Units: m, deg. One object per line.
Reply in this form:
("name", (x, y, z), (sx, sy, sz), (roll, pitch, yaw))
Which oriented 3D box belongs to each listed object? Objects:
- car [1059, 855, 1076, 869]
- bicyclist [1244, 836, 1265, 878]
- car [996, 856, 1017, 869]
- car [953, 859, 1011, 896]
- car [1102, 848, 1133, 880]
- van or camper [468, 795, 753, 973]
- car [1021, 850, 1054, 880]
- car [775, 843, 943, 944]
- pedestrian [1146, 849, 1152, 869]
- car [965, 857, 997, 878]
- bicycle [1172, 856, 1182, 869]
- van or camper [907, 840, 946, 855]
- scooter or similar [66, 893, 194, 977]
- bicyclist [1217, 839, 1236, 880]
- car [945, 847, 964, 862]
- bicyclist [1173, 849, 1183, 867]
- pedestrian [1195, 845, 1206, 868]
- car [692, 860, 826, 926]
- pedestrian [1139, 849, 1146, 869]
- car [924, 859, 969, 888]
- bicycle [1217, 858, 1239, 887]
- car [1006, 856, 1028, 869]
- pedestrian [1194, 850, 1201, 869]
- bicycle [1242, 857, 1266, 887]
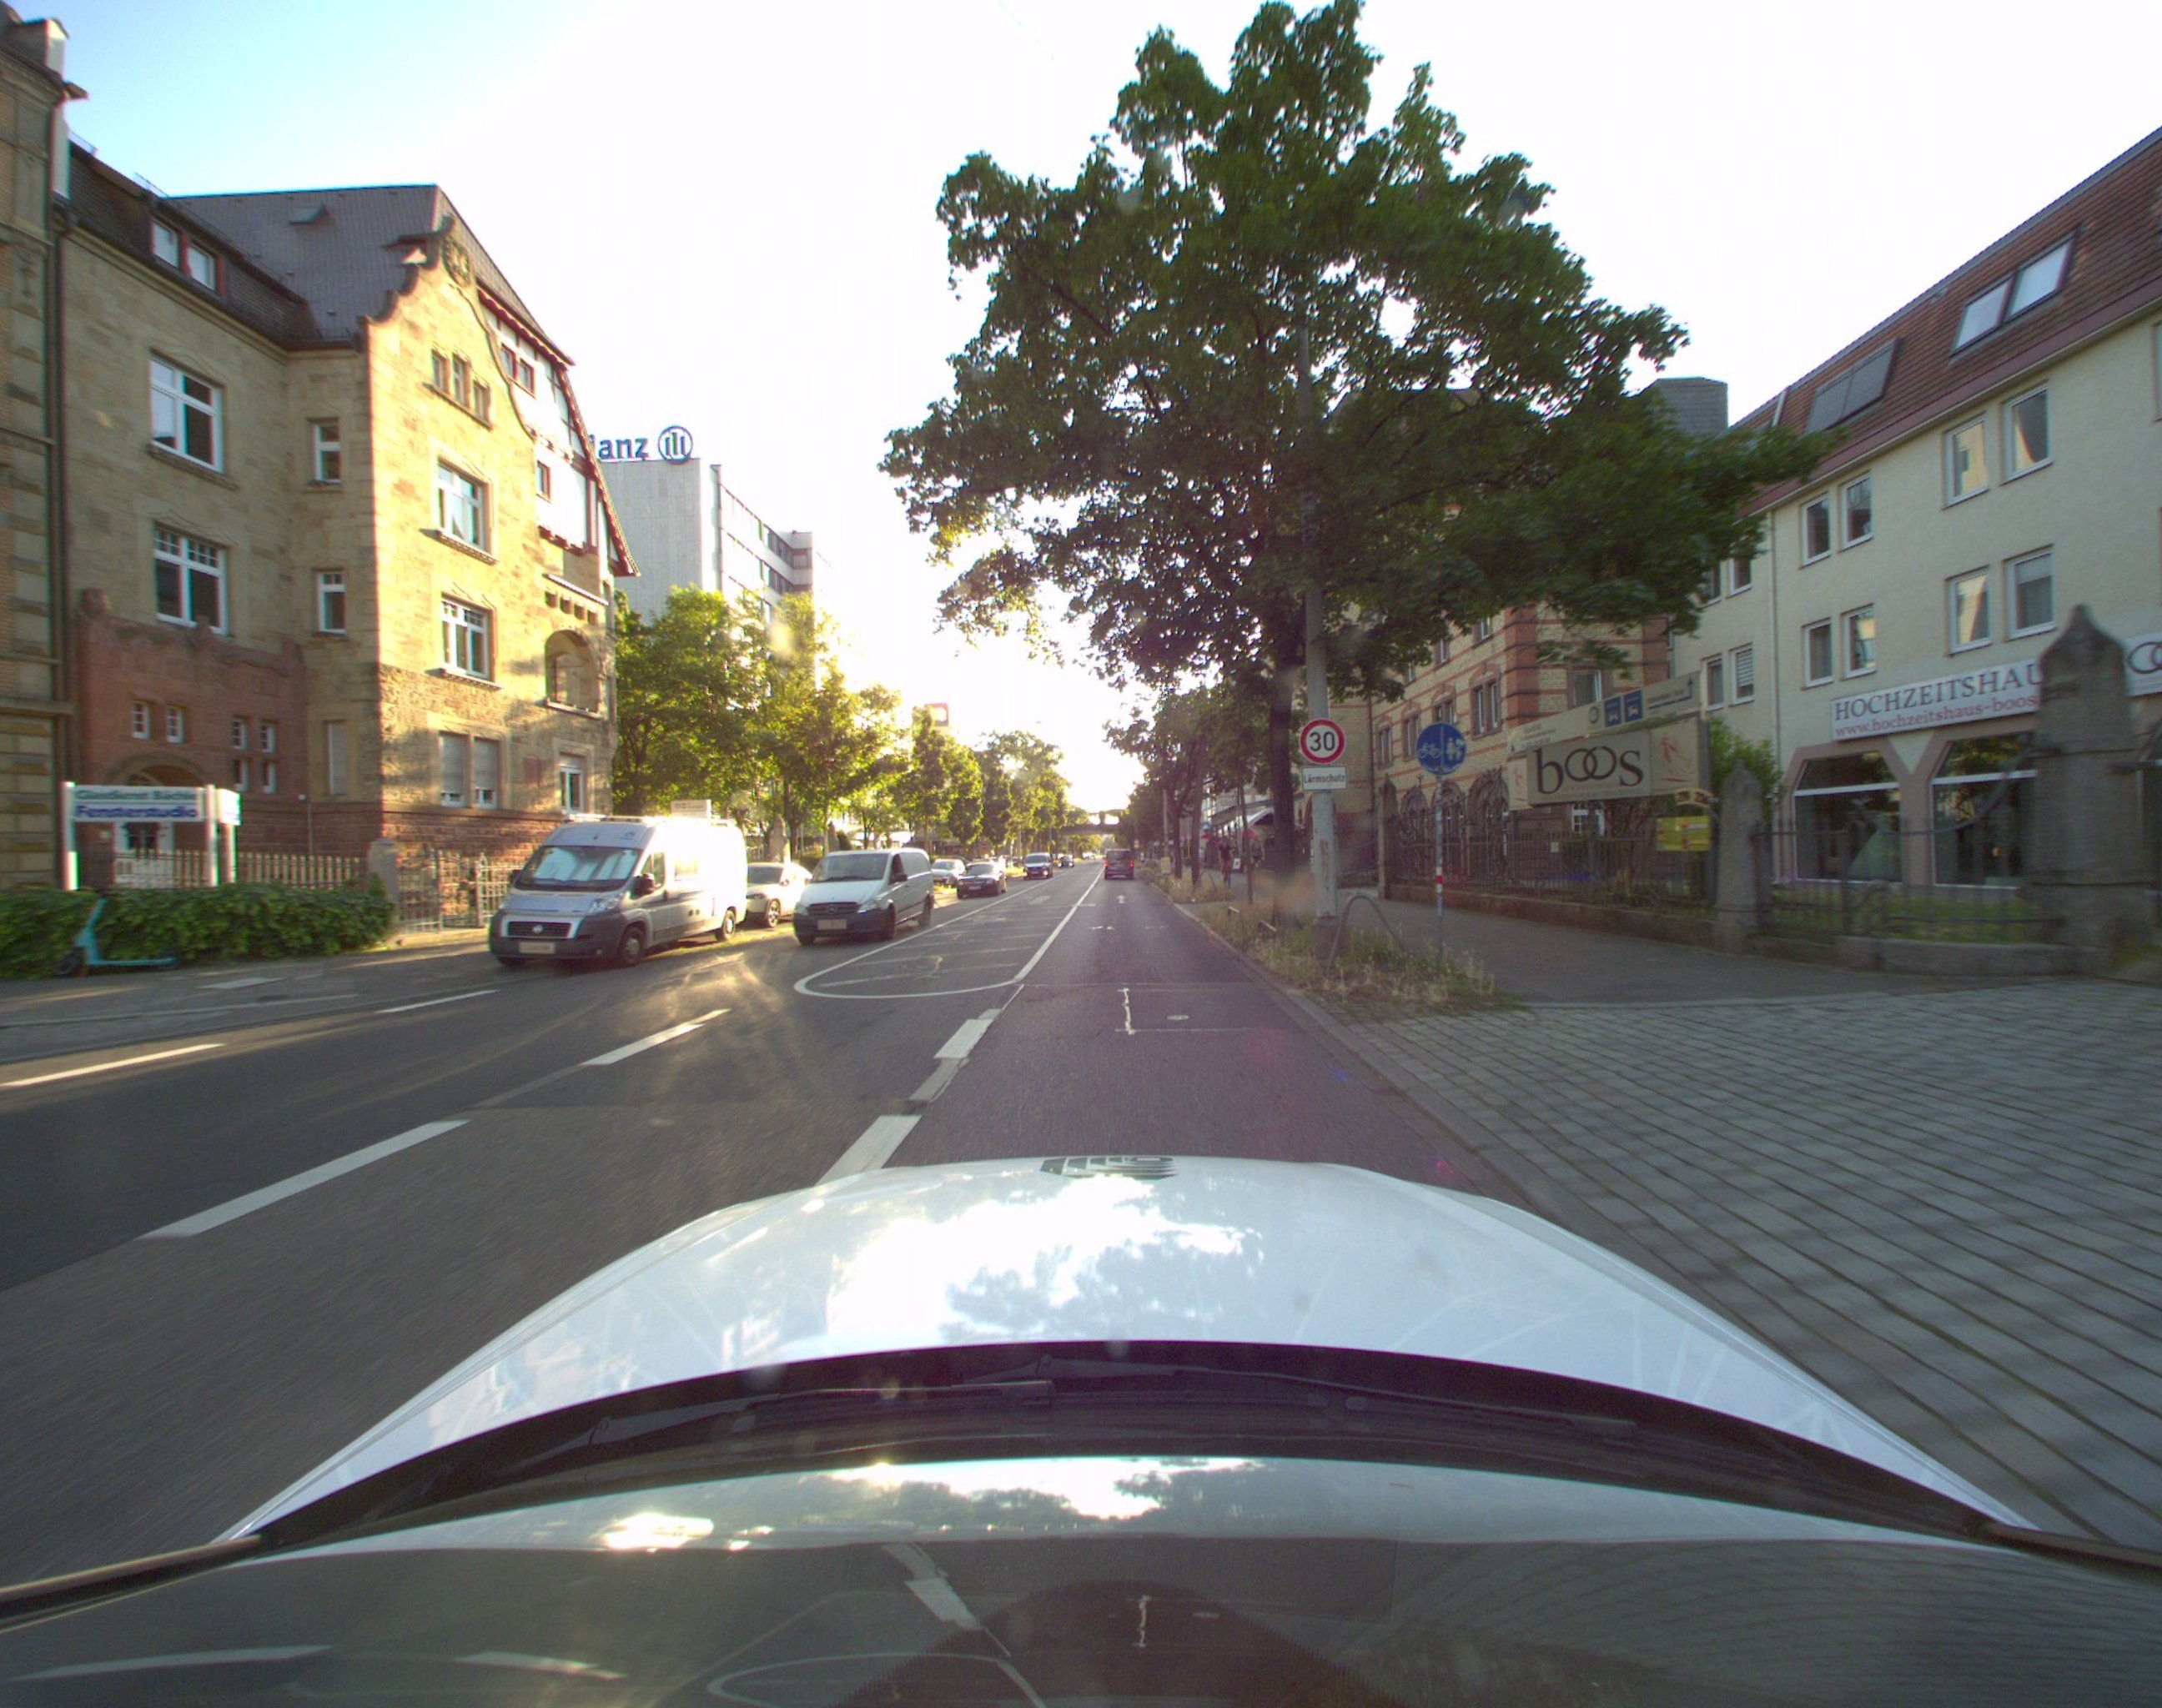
("car", (-1.610, 0.916, 96.010), (1.672, 1.530, 4.002), (-3, 0, 2))
("bicyclist", (6.401, 0.102, 30.027), (0.593, 1.532, 0.894), (0, 0, 2))
("car", (-7.774, 0.840, 85.043), (1.664, 1.314, 3.967), (0, 0, 2))
("car", (-4.232, 0.961, 35.376), (1.752, 1.386, 4.307), (-3, 0, 2))
("car", (2.390, 0.593, 52.565), (1.879, 1.925, 3.842), (-2, 0, 3))
("van or camper", (-8.284, 0.439, 15.269), (1.988, 2.668, 6.034), (0, 0, -2))
("car", (-2.931, 0.719, 56.163), (1.826, 1.852, 4.475), (-3, 0, 1))
("car", (-4.661, 0.745, 18.064), (1.985, 1.831, 5.174), (-3, 0, 3))
("pedestrian", (6.482, 0.437, 77.565), (0.505, 1.888, 0.543), (0, 0, -13))
("car", (-6.898, 0.939, 56.626), (1.632, 1.385, 4.001), (0, 0, 1))
("bicycle", (6.886, 0.633, 58.214), (0.577, 0.897, 1.988), (0, 0, 3))
("van or camper", (-27.707, -1.163, 146.304), (6.541, 2.522, 2.449), (0, 0, 0))
("scooter or similar", (-13.407, 1.117, 11.512), (0.285, 1.057, 1.124), (-3, 0, 44))
("bicyclist", (5.425, 0.199, 30.349), (0.593, 1.532, 0.894), (0, 0, 2))
("car", (-19.875, 0.083, 128.209), (1.985, 2.307, 5.248), (0, 0, 2))
("bicyclist", (6.892, 0.278, 57.964), (0.583, 1.236, 1.112), (0, 0, 2))
("pedestrian", (8.224, 0.171, 56.094), (0.642, 1.633, 0.656), (0, 0, 2))
("car", (-8.403, 0.957, 21.703), (1.740, 1.534, 4.304), (0, 0, 1))
("pedestrian", (5.910, 0.474, 78.079), (0.505, 1.888, 0.543), (0, 0, -13))
("car", (-7.231, 1.040, 44.173), (1.690, 1.451, 4.001), (0, 0, 1))
("bicycle", (5.434, 0.661, 30.212), (0.542, 1.040, 2.090), (0, 0, 2))
("car", (-7.503, 0.965, 95.667), (1.985, 1.414, 4.239), (0, 0, 2))
("pedestrian", (8.236, 0.364, 57.541), (0.465, 1.350, 0.530), (0, 0, 2))
("bicycle", (6.303, 0.640, 29.793), (0.515, 1.040, 2.090), (0, 0, 2))
